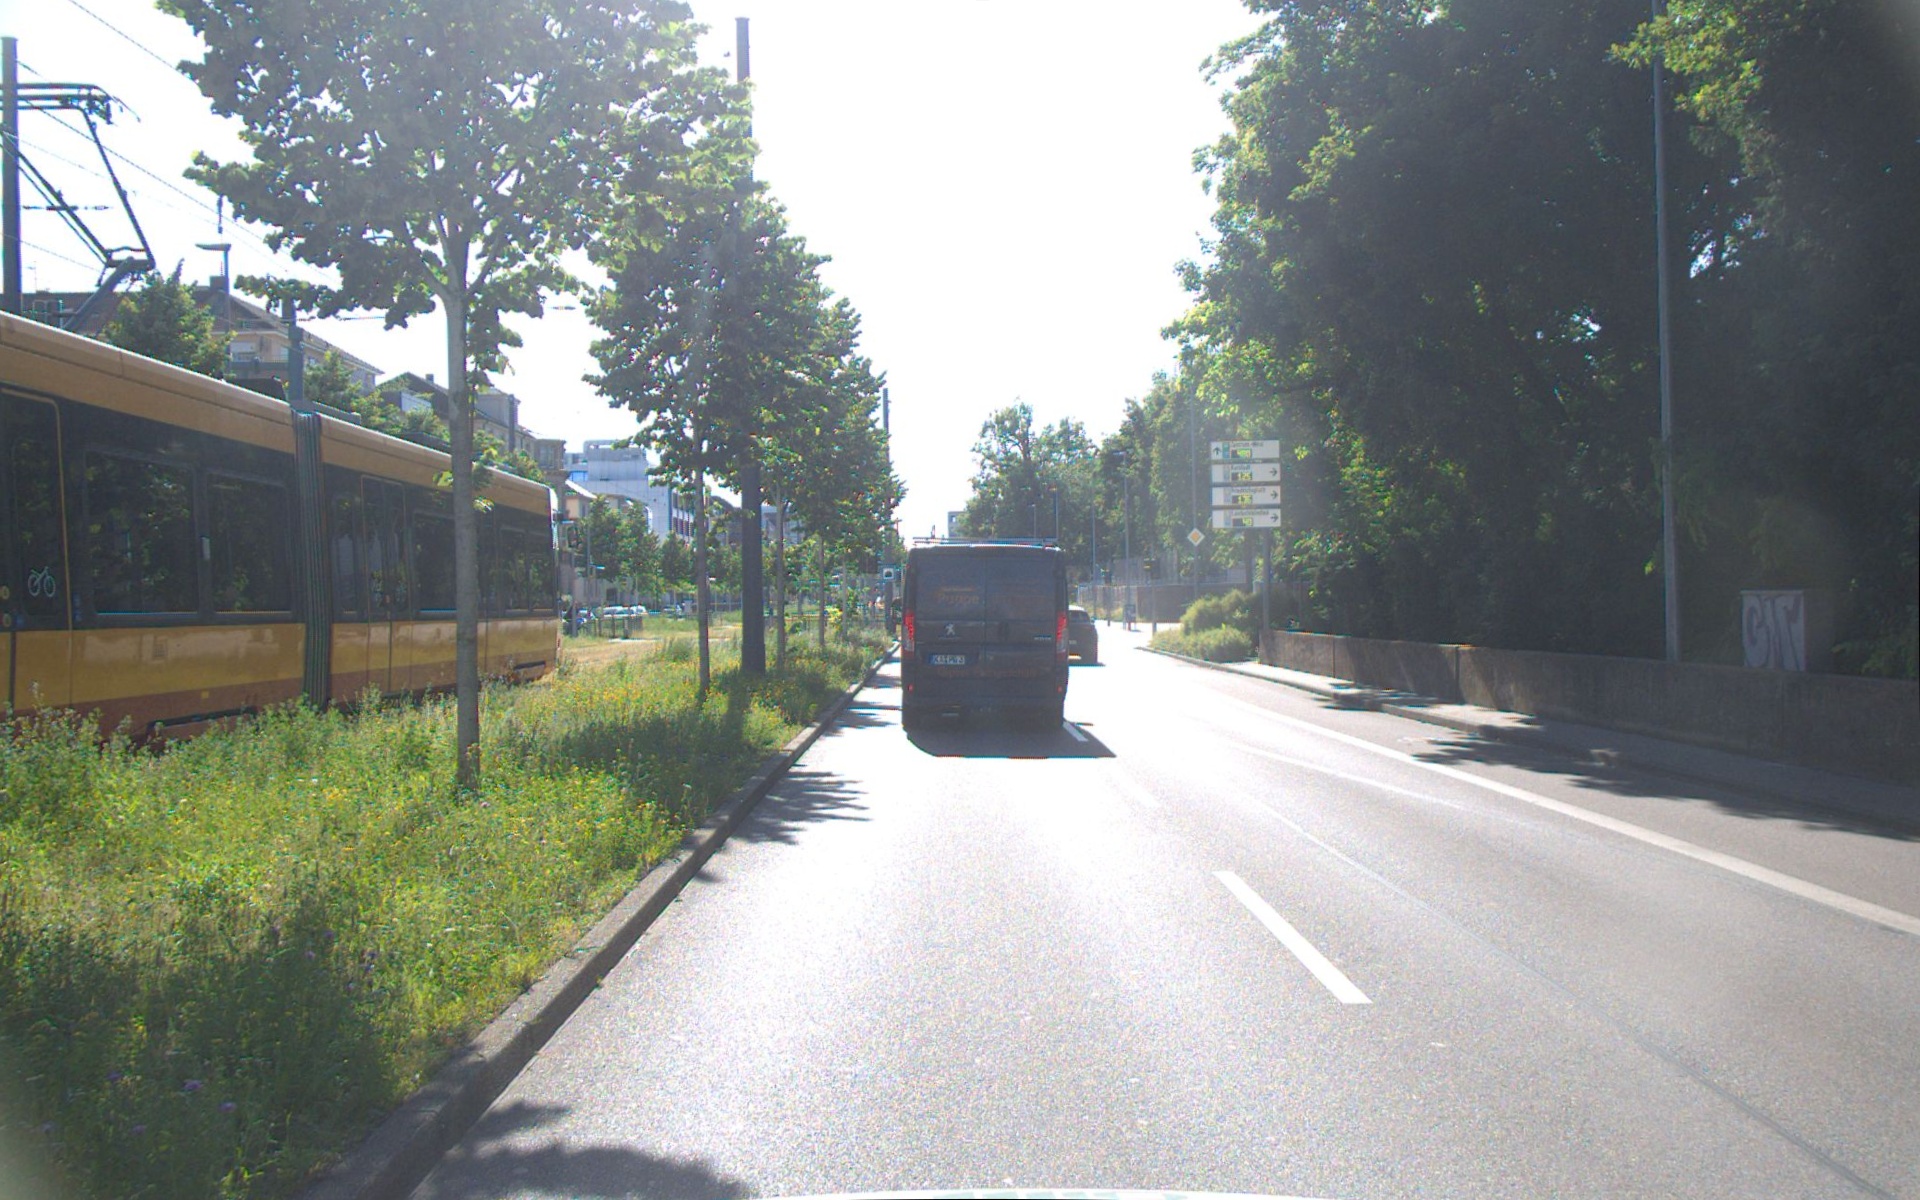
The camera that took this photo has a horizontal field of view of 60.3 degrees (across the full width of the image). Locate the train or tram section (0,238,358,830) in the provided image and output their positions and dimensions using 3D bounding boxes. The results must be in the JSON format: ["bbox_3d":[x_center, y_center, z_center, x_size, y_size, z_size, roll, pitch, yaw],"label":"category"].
[{"bbox_3d":[-7.051,-0.413,11.373,1.953,3.733,11.313,0,0,-1],"label":"train or tram section"}]

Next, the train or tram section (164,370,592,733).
[{"bbox_3d":[-7.279,-0.502,22.859,1.953,3.733,11.681,0,0,-1],"label":"train or tram section"}]

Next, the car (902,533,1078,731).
[{"bbox_3d":[0.297,0.367,21.144,2.040,2.288,3.999,0,0,-2],"label":"car"}]

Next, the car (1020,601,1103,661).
[{"bbox_3d":[2.615,0.763,43.208,1.728,1.488,3.998,0,0,-3],"label":"car"}]
